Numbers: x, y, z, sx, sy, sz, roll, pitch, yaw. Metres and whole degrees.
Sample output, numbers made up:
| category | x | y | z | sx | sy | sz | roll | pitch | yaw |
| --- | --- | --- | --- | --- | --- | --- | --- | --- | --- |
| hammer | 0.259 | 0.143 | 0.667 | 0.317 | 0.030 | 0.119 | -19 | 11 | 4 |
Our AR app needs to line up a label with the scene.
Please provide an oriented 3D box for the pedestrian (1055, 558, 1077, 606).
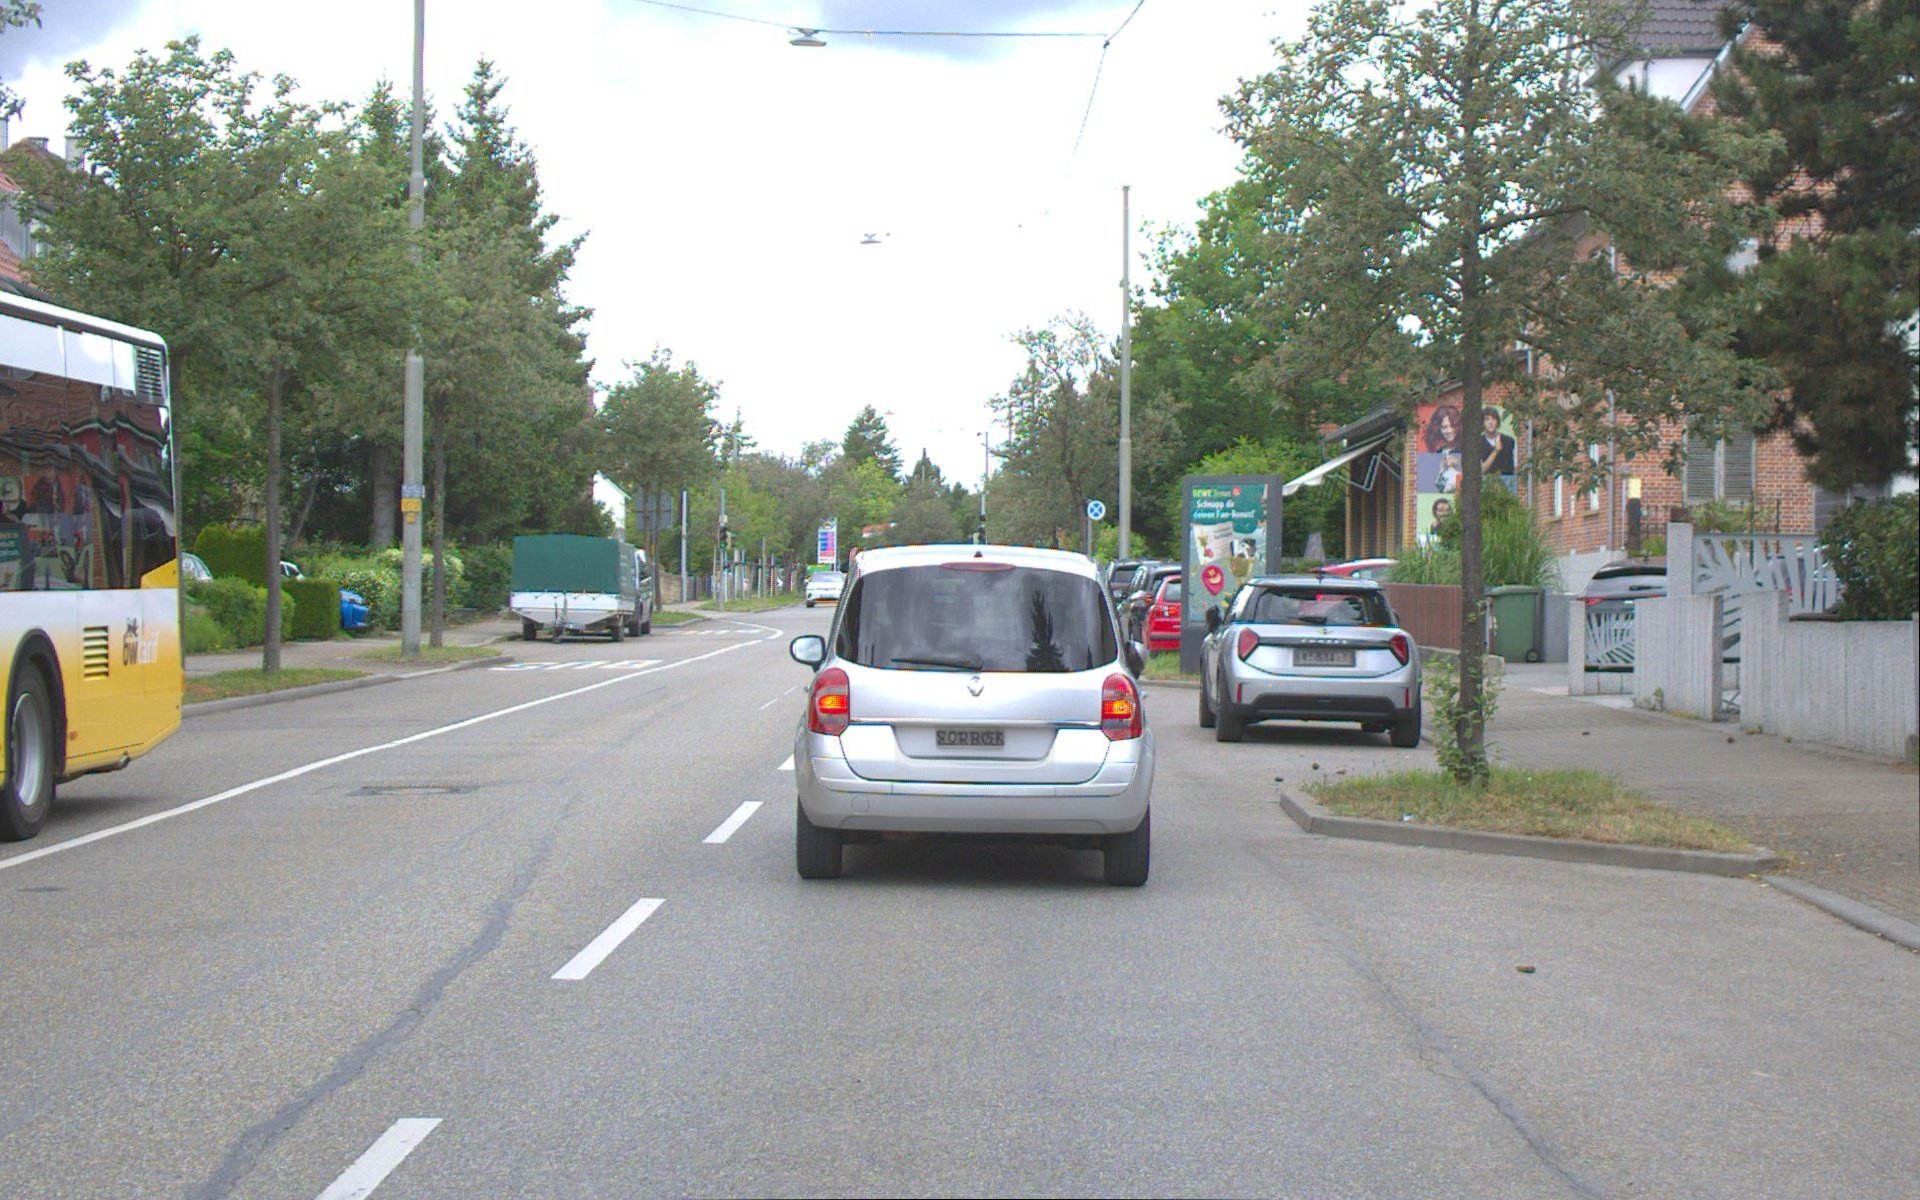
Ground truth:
| category | x | y | z | sx | sy | sz | roll | pitch | yaw |
| --- | --- | --- | --- | --- | --- | --- | --- | --- | --- |
| pedestrian | 3.651 | -0.614 | 118.445 | 0.705 | 1.641 | 0.773 | -1 | 0 | 0 |

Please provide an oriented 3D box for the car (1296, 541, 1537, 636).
| category | x | y | z | sx | sy | sz | roll | pitch | yaw |
| --- | --- | --- | --- | --- | --- | --- | --- | --- | --- |
| car | 8.375 | -0.218 | 63.222 | 3.986 | 1.491 | 1.810 | -3 | 1 | -8 |

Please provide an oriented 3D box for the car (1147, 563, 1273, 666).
| category | x | y | z | sx | sy | sz | roll | pitch | yaw |
| --- | --- | --- | --- | --- | --- | --- | --- | --- | --- |
| car | 3.549 | 0.180 | 49.280 | 1.662 | 1.388 | 3.667 | -1 | 1 | 2 |

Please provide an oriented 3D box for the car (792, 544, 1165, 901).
| category | x | y | z | sx | sy | sz | roll | pitch | yaw |
| --- | --- | --- | --- | --- | --- | --- | --- | --- | --- |
| car | 0.135 | 0.553 | 17.304 | 1.630 | 1.551 | 4.000 | 1 | 0 | 2 |

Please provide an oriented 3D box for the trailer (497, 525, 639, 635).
| category | x | y | z | sx | sy | sz | roll | pitch | yaw |
| --- | --- | --- | --- | --- | --- | --- | --- | --- | --- |
| trailer | -7.895 | -0.373 | 69.777 | 2.312 | 2.079 | 5.873 | 1 | 0 | -1 |

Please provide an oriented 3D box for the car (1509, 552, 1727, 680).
| category | x | y | z | sx | sy | sz | roll | pitch | yaw |
| --- | --- | --- | --- | --- | --- | --- | --- | --- | --- |
| car | 8.663 | 0.182 | 44.995 | 1.820 | 1.376 | 4.475 | -4 | 0 | 23 |

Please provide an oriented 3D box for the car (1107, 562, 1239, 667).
| category | x | y | z | sx | sy | sz | roll | pitch | yaw |
| --- | --- | --- | --- | --- | --- | --- | --- | --- | --- |
| car | 3.293 | 0.201 | 53.745 | 1.662 | 1.559 | 4.099 | 0 | 1 | -2 |

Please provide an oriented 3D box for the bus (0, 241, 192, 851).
| category | x | y | z | sx | sy | sz | roll | pitch | yaw |
| --- | --- | --- | --- | --- | --- | --- | --- | --- | --- |
| bus | -6.175 | -0.219 | 15.207 | 2.632 | 3.075 | 12.070 | -2 | 1 | 1 |

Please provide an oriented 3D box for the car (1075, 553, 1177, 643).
| category | x | y | z | sx | sy | sz | roll | pitch | yaw |
| --- | --- | --- | --- | --- | --- | --- | --- | --- | --- |
| car | 3.334 | -0.031 | 69.767 | 1.812 | 1.737 | 4.000 | -1 | 0 | -1 |

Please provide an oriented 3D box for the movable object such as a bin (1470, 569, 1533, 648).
| category | x | y | z | sx | sy | sz | roll | pitch | yaw |
| --- | --- | --- | --- | --- | --- | --- | --- | --- | --- |
| movable object such as a bin | 7.714 | 0.117 | 48.988 | 0.776 | 1.100 | 0.691 | 0 | 1 | 0 |

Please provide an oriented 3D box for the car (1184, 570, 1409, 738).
| category | x | y | z | sx | sy | sz | roll | pitch | yaw |
| --- | --- | --- | --- | --- | --- | --- | --- | --- | --- |
| car | 2.925 | 0.460 | 30.582 | 1.650 | 1.378 | 4.000 | 1 | 0 | 1 |

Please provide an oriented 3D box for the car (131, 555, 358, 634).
| category | x | y | z | sx | sy | sz | roll | pitch | yaw |
| --- | --- | --- | --- | --- | --- | --- | --- | --- | --- |
| car | -13.070 | -0.093 | 63.009 | 3.986 | 1.333 | 1.578 | 1 | -1 | -9 |

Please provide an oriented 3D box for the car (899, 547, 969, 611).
| category | x | y | z | sx | sy | sz | roll | pitch | yaw |
| --- | --- | --- | --- | --- | --- | --- | --- | --- | --- |
| car | -0.674 | -0.560 | 92.333 | 1.829 | 1.670 | 3.574 | 0 | 0 | 0 |

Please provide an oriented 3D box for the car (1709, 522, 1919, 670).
| category | x | y | z | sx | sy | sz | roll | pitch | yaw |
| --- | --- | --- | --- | --- | --- | --- | --- | --- | --- |
| car | 10.897 | -0.121 | 39.009 | 4.259 | 1.501 | 1.695 | -4 | -1 | -7 |

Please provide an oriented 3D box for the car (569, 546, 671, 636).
| category | x | y | z | sx | sy | sz | roll | pitch | yaw |
| --- | --- | --- | --- | --- | --- | --- | --- | --- | --- |
| car | -7.553 | -0.180 | 76.702 | 1.887 | 1.915 | 4.562 | 1 | 0 | -1 |

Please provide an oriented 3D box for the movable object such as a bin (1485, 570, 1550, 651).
| category | x | y | z | sx | sy | sz | roll | pitch | yaw |
| --- | --- | --- | --- | --- | --- | --- | --- | --- | --- |
| movable object such as a bin | 7.703 | 0.147 | 47.491 | 0.776 | 1.100 | 0.691 | 0 | 1 | 0 |

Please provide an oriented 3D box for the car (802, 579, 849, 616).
| category | x | y | z | sx | sy | sz | roll | pitch | yaw |
| --- | --- | --- | --- | --- | --- | --- | --- | --- | --- |
| car | -6.015 | -0.118 | 153.133 | 1.905 | 1.612 | 4.000 | 1 | 0 | -5 |

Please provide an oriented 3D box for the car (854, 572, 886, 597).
| category | x | y | z | sx | sy | sz | roll | pitch | yaw |
| --- | --- | --- | --- | --- | --- | --- | --- | --- | --- |
| car | -5.189 | -0.879 | 198.316 | 1.721 | 1.406 | 4.000 | 1 | 0 | -3 |
